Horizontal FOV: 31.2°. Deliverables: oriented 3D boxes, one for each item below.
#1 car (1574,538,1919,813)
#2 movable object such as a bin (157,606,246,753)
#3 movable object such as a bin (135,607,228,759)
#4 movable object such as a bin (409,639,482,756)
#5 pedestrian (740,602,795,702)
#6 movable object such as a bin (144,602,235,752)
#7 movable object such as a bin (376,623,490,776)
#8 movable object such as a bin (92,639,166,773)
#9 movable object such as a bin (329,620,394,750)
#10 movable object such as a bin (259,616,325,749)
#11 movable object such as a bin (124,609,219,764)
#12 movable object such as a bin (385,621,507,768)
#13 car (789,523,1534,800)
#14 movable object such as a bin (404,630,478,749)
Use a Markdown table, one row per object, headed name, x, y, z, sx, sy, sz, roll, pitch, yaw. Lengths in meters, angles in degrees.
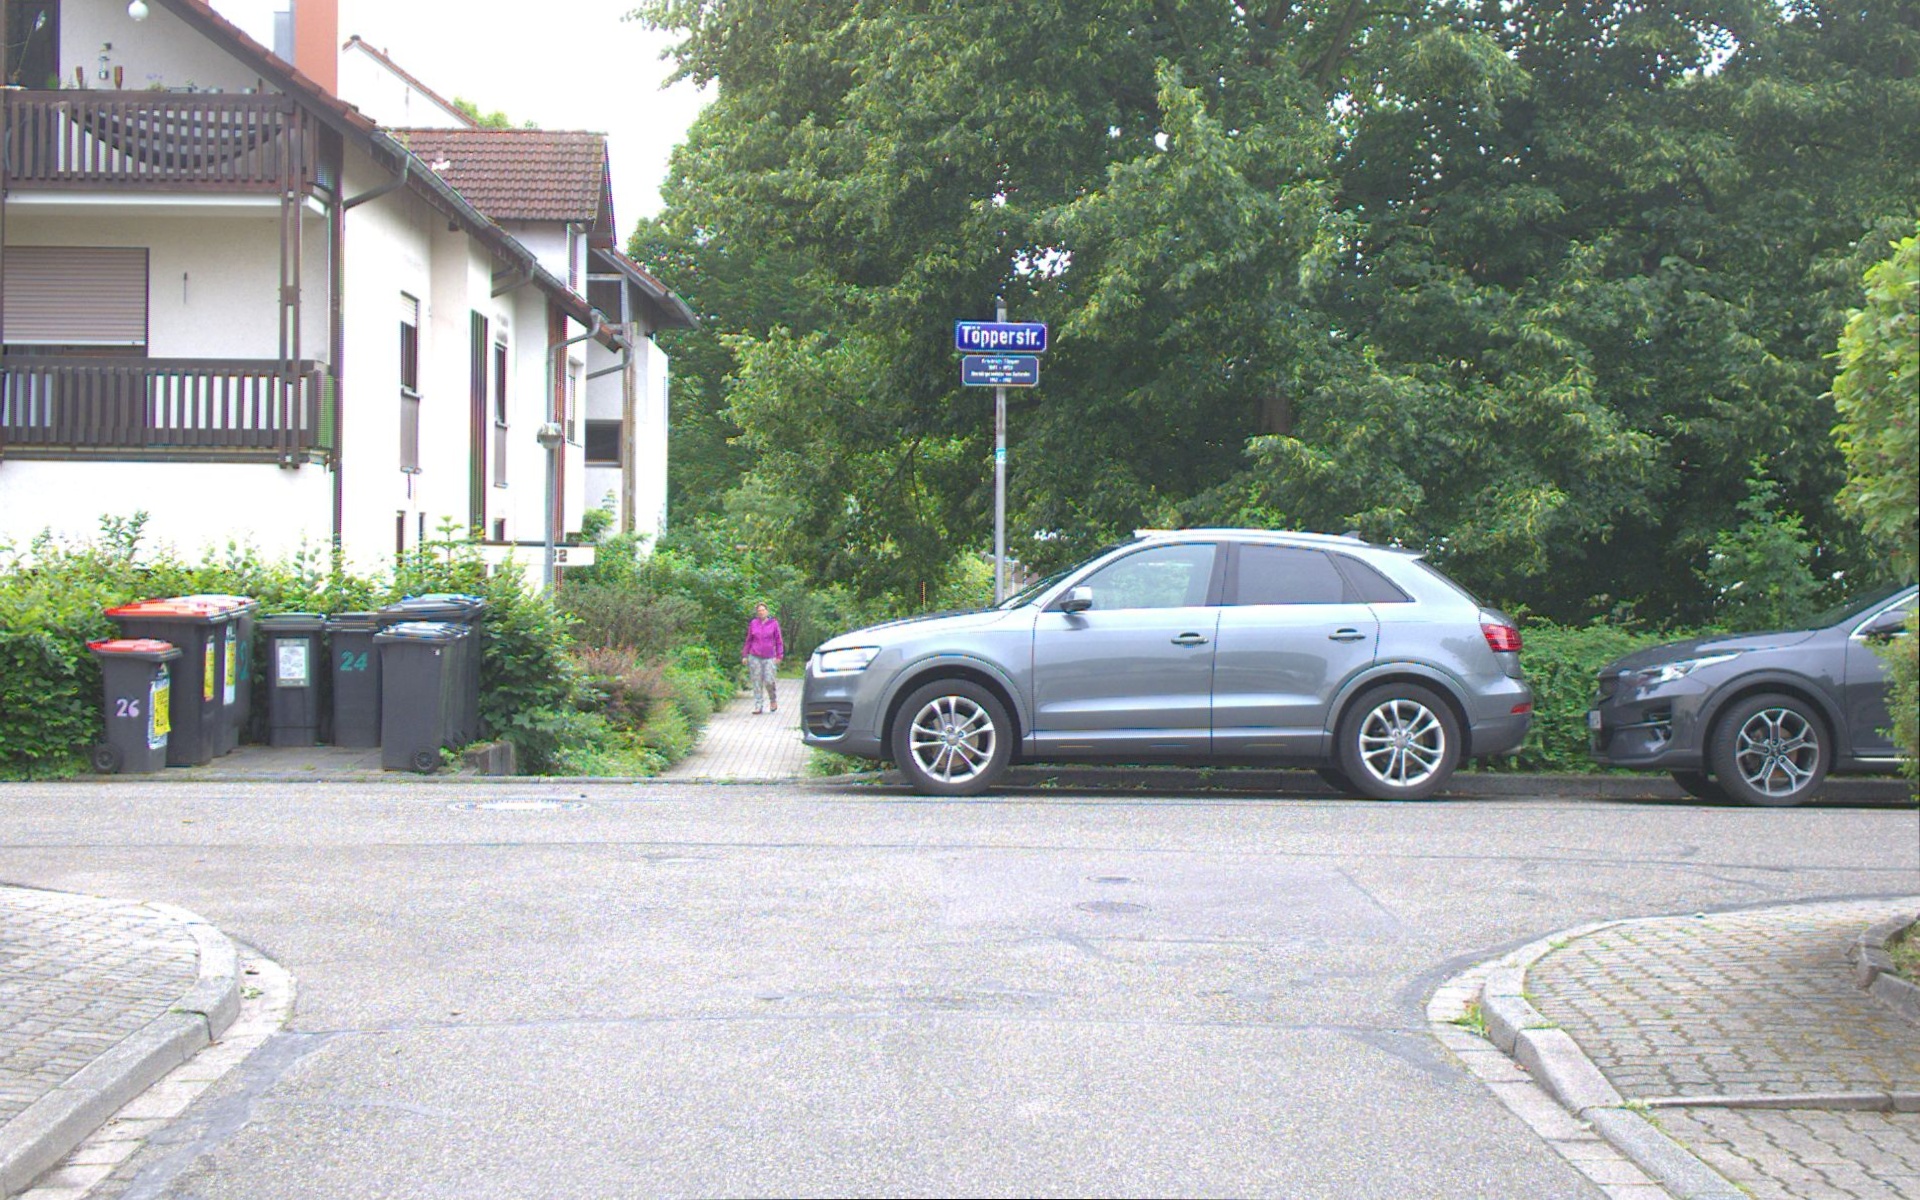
| name | x | y | z | sx | sy | sz | roll | pitch | yaw |
| --- | --- | --- | --- | --- | --- | --- | --- | --- | --- |
| car | 5.821 | 0.452 | 20.161 | 4.182 | 1.526 | 1.747 | 1 | -1 | 3 |
| movable object such as a bin | -5.247 | 0.550 | 23.793 | 0.537 | 0.990 | 0.337 | 1 | 1 | -4 |
| movable object such as a bin | -5.197 | 0.550 | 22.951 | 0.537 | 0.990 | 0.337 | 1 | 1 | -4 |
| movable object such as a bin | -3.621 | 0.686 | 24.199 | 0.459 | 0.795 | 0.379 | 1 | 1 | -4 |
| pedestrian | -2.926 | 0.787 | 52.270 | 0.815 | 1.512 | 0.438 | 0 | 0 | -4 |
| movable object such as a bin | -5.222 | 0.518 | 23.308 | 0.537 | 0.990 | 0.337 | 1 | 1 | -4 |
| movable object such as a bin | -3.437 | 0.645 | 22.471 | 0.638 | 0.950 | 0.723 | 1 | 1 | -2 |
| movable object such as a bin | -5.339 | 0.680 | 22.101 | 0.386 | 0.834 | 0.379 | 1 | 1 | -4 |
| movable object such as a bin | -4.173 | 0.590 | 23.988 | 0.386 | 0.886 | 0.379 | 1 | 1 | -4 |
| movable object such as a bin | -4.648 | 0.571 | 23.936 | 0.386 | 0.898 | 0.379 | 1 | 1 | -4 |
| movable object such as a bin | -5.177 | 0.566 | 22.581 | 0.537 | 0.990 | 0.379 | 1 | 1 | -4 |
| movable object such as a bin | -3.465 | 0.630 | 23.215 | 0.733 | 0.950 | 0.584 | 1 | 1 | -2 |
| car | 1.129 | 0.365 | 20.456 | 4.237 | 1.526 | 1.747 | 1 | -1 | -2 |
| movable object such as a bin | -3.586 | 0.617 | 23.772 | 0.459 | 0.795 | 0.379 | 1 | 1 | -4 |
